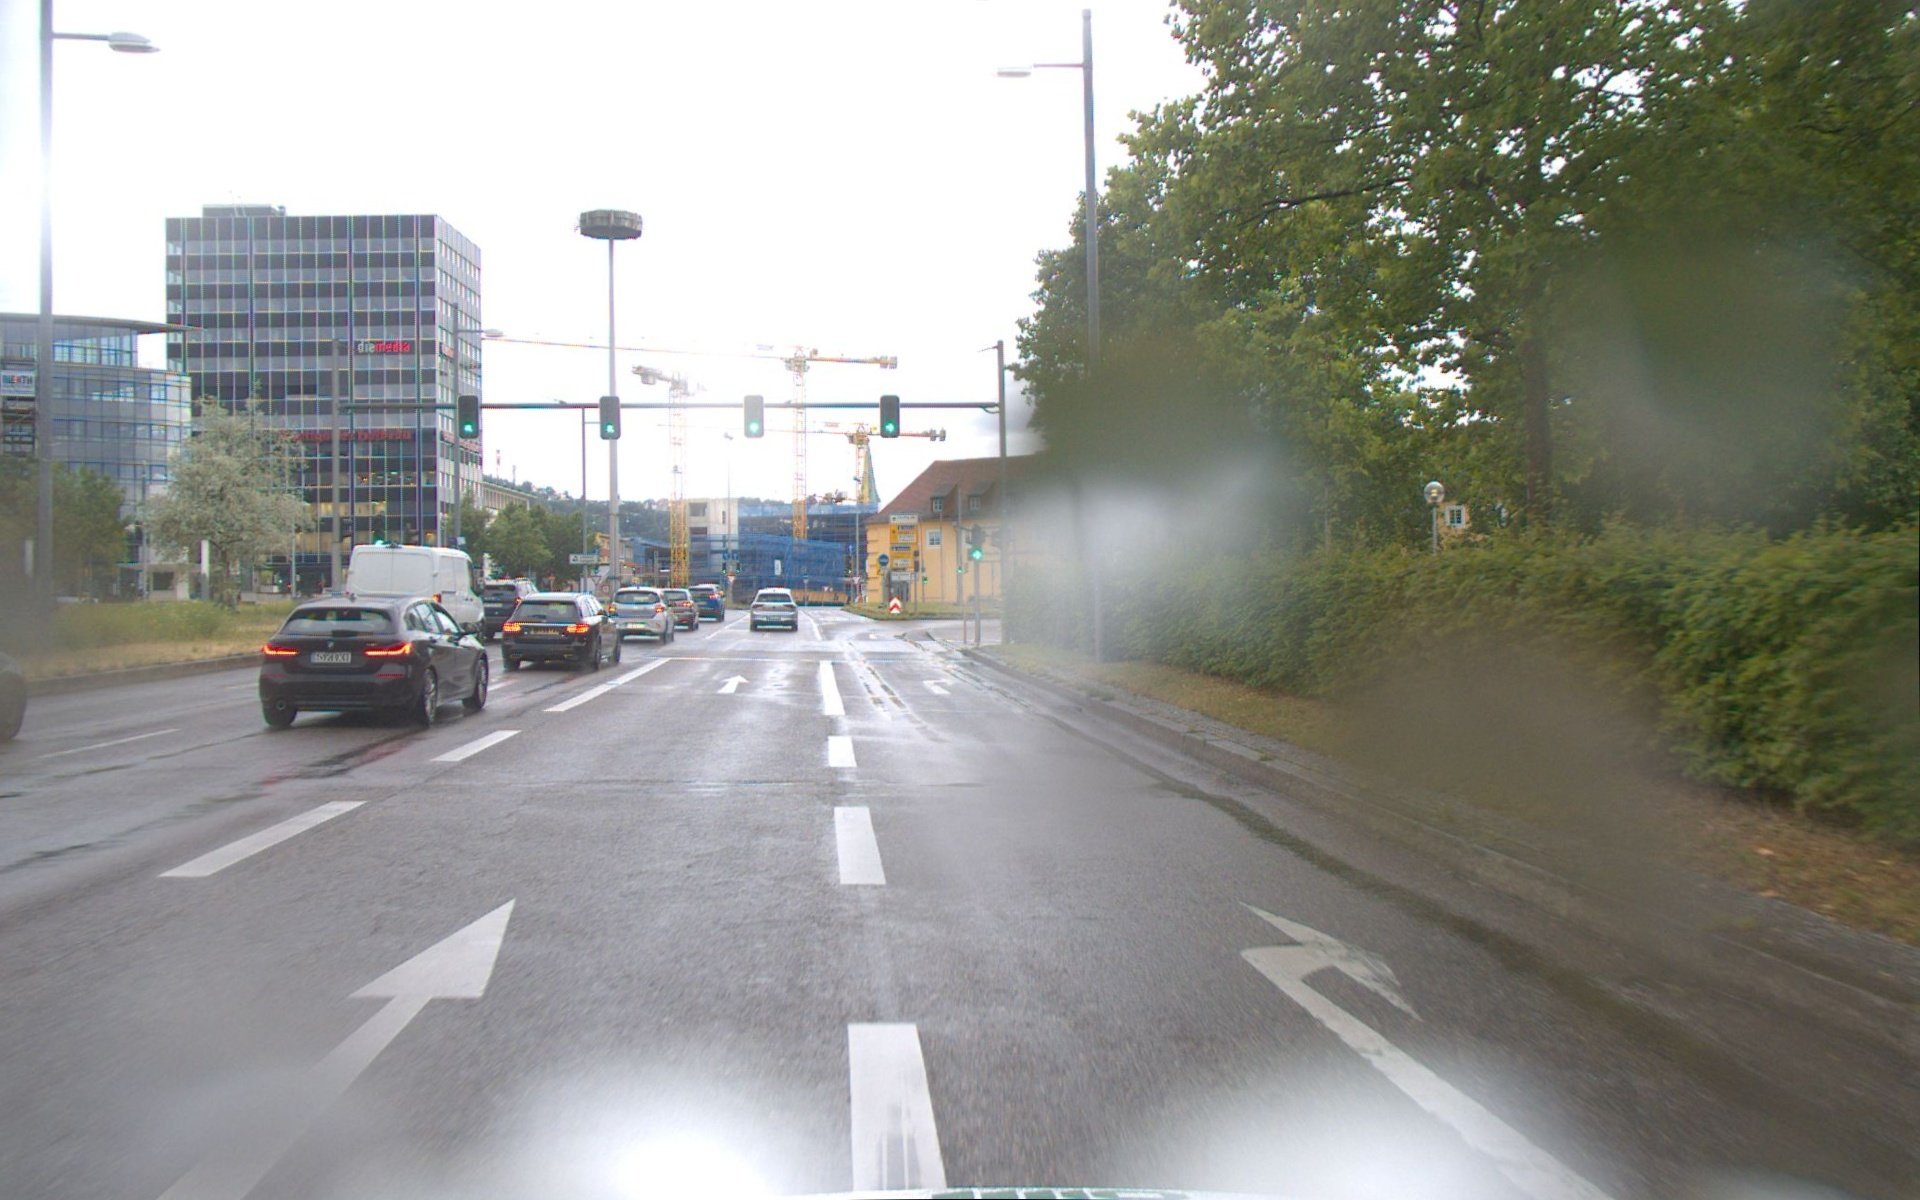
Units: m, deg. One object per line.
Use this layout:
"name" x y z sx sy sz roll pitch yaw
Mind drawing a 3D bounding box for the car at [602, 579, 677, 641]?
"car" -9.051 0.314 46.931 1.845 1.682 3.452 1 -1 -7

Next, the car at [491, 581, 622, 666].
"car" -7.708 0.470 31.856 1.793 1.521 3.397 1 -1 -3

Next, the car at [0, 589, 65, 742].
"car" -9.752 0.595 14.814 1.512 1.440 3.898 1 -1 -3

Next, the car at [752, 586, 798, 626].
"car" -6.660 0.243 59.634 1.415 1.383 2.411 1 -1 -2

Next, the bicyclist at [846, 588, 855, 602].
"bicyclist" -10.397 -0.452 157.184 0.693 1.298 0.631 1 -2 -21

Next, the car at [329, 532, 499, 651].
"car" -11.629 -0.119 35.637 2.247 2.355 5.001 1 -1 -4

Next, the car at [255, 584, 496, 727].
"car" -6.770 0.571 19.614 1.719 1.497 4.217 1 1 -6

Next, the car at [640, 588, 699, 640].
"car" -10.145 0.510 58.001 1.682 1.758 3.491 1 -1 -5

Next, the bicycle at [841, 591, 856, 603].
"bicycle" -10.634 -0.298 157.596 0.867 1.027 1.981 1 -1 -20

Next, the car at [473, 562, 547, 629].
"car" -12.204 -0.089 44.958 1.436 1.736 3.136 1 -1 -7

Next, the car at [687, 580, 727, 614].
"car" -10.942 -0.118 71.660 1.464 1.393 3.030 1 -1 -5
